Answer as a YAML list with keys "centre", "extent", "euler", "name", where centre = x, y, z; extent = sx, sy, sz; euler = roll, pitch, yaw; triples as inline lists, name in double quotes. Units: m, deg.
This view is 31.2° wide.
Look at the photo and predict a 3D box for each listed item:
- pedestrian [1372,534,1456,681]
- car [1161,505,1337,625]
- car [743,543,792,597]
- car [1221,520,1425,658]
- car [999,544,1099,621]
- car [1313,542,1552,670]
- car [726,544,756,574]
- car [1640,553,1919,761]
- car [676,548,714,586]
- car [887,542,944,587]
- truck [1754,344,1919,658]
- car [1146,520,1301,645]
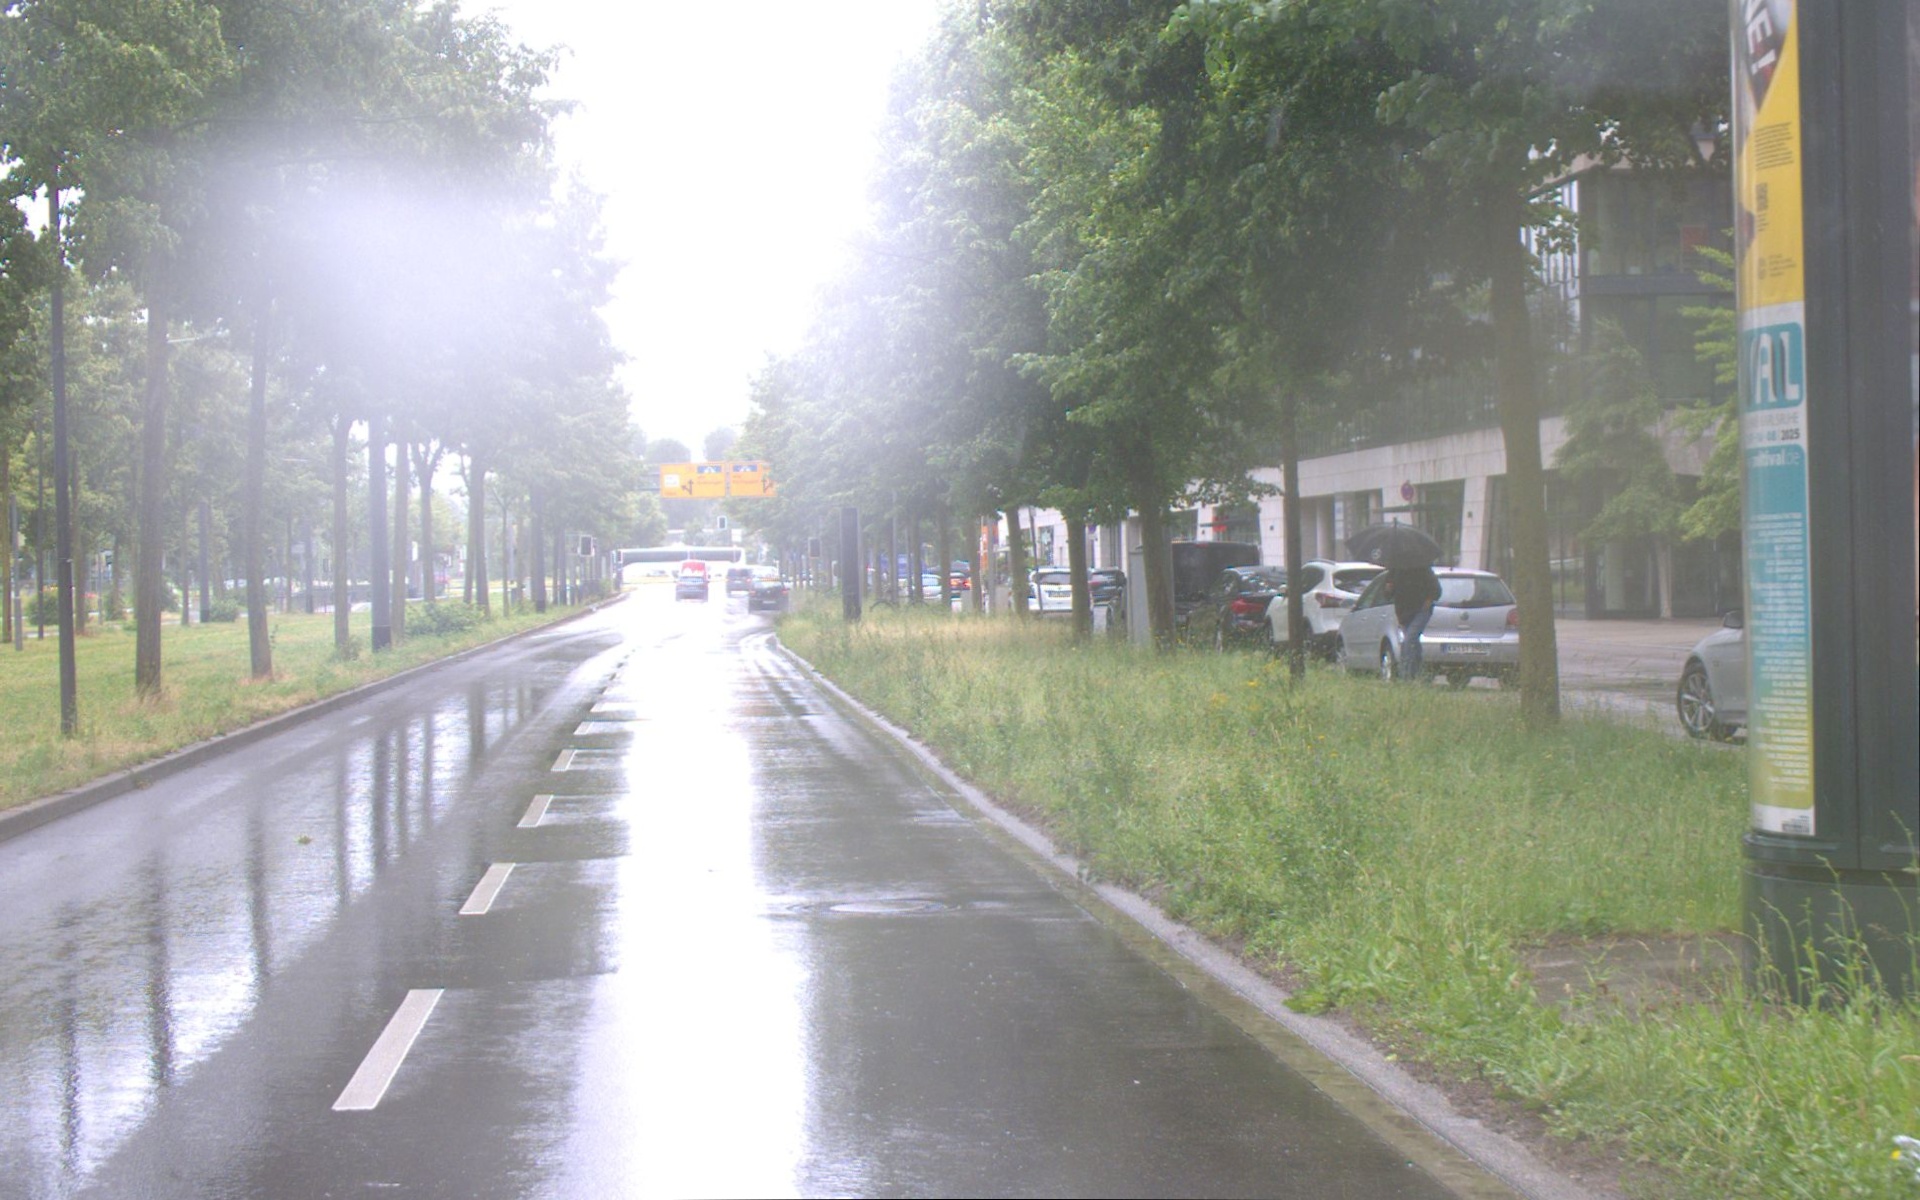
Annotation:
- centre: [4.686, 0.073, 35.502]
  extent: [0.697, 1.488, 0.644]
  euler: [-1, 1, -7]
  name: "pedestrian"
- centre: [4.489, -0.592, 54.162]
  extent: [1.993, 1.663, 4.960]
  euler: [-1, 3, -4]
  name: "car"
- centre: [-7.867, -1.233, 140.254]
  extent: [1.940, 2.006, 4.001]
  euler: [-1, 3, -4]
  name: "car"
- centre: [4.996, -0.206, 47.925]
  extent: [1.993, 1.663, 4.725]
  euler: [-1, 3, -4]
  name: "car"
- centre: [2.182, -0.455, 85.425]
  extent: [1.993, 1.663, 4.725]
  euler: [-1, 3, -4]
  name: "car"
- centre: [5.714, 0.028, 42.171]
  extent: [1.769, 1.447, 4.725]
  euler: [0, 1, -7]
  name: "car"
- centre: [-15.757, -2.977, 247.476]
  extent: [1.993, 2.006, 4.001]
  euler: [-1, 3, -2]
  name: "car"
- centre: [7.128, 0.362, 26.823]
  extent: [1.993, 1.439, 5.238]
  euler: [-1, 1, -7]
  name: "car"
- centre: [-15.284, -1.926, 198.520]
  extent: [1.993, 2.006, 4.001]
  euler: [-1, 3, -2]
  name: "car"
- centre: [-1.708, -1.383, 131.463]
  extent: [1.881, 1.500, 4.725]
  euler: [-1, 3, -4]
  name: "car"
- centre: [11.898, -1.119, 38.561]
  extent: [3.024, 3.429, 8.550]
  euler: [-1, 1, -7]
  name: "truck"
- centre: [4.632, -0.356, 61.124]
  extent: [1.993, 1.945, 5.030]
  euler: [-1, 3, -4]
  name: "car"
